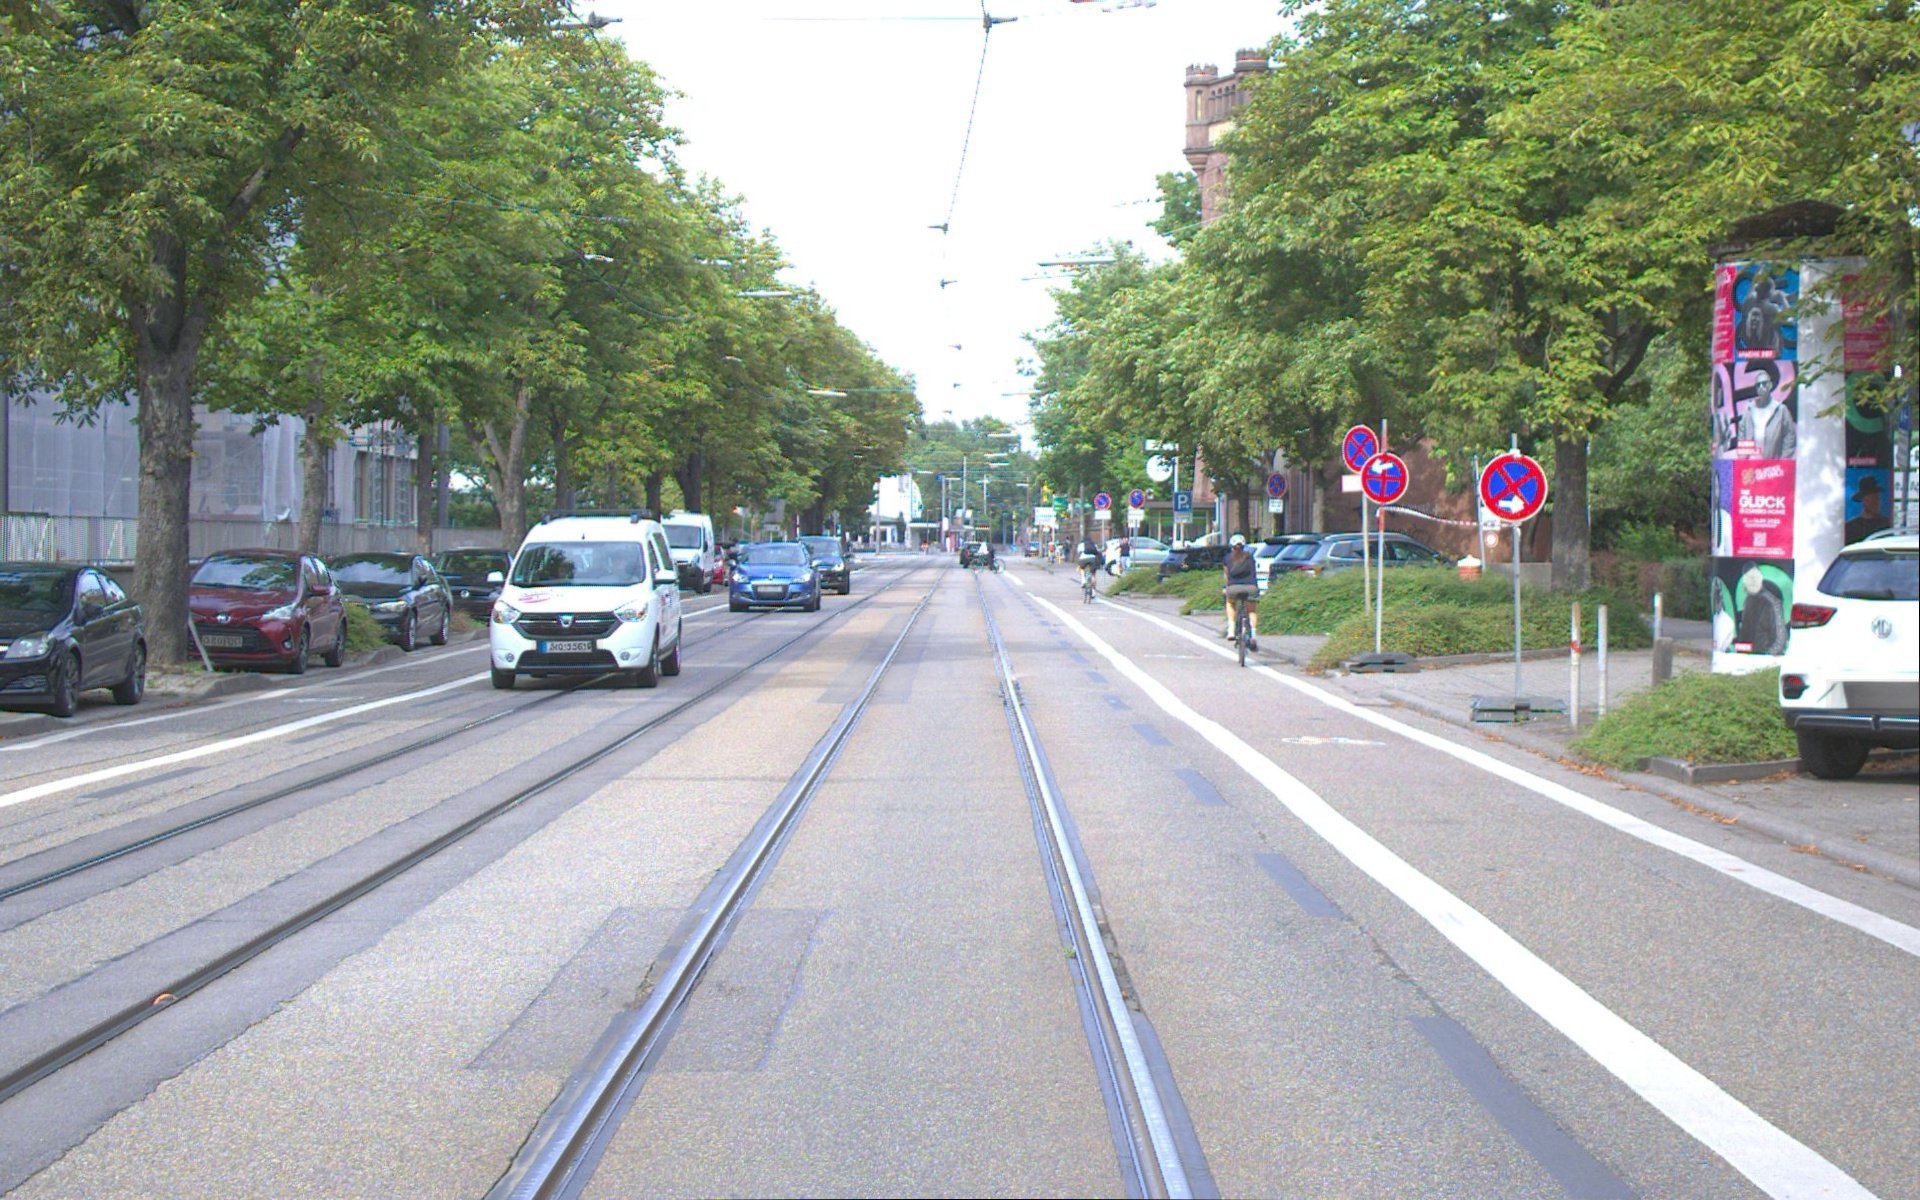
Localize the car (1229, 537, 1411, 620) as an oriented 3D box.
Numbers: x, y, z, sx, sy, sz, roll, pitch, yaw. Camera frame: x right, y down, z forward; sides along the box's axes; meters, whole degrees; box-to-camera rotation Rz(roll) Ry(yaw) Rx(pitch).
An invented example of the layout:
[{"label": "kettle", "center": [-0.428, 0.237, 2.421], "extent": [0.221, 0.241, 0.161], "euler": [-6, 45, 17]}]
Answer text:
[{"label": "car", "center": [7.174, -0.436, 68.391], "extent": [1.681, 1.597, 3.637], "euler": [1, 1, 45]}]

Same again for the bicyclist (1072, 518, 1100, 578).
[{"label": "bicyclist", "center": [3.187, -1.314, 86.800], "extent": [0.659, 1.491, 0.929], "euler": [1, 1, 1]}]

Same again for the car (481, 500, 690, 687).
[{"label": "car", "center": [-3.976, -0.114, 37.107], "extent": [1.732, 1.878, 4.378], "euler": [1, 1, 0]}]

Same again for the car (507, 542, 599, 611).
[{"label": "car", "center": [-8.576, -0.519, 72.724], "extent": [1.590, 1.398, 3.963], "euler": [1, 1, -2]}]

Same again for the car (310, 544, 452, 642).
[{"label": "car", "center": [-8.735, -0.128, 52.115], "extent": [1.590, 1.398, 3.963], "euler": [1, 1, -2]}]

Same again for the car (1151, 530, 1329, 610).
[{"label": "car", "center": [5.765, -0.610, 70.537], "extent": [1.681, 1.597, 3.637], "euler": [1, 1, 45]}]

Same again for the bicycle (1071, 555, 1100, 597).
[{"label": "bicycle", "center": [3.175, -0.611, 86.887], "extent": [0.663, 1.040, 1.841], "euler": [1, 1, 1]}]

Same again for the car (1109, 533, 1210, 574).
[{"label": "car", "center": [8.376, -1.971, 144.750], "extent": [3.986, 1.687, 2.000], "euler": [1, 1, -5]}]

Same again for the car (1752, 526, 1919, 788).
[{"label": "car", "center": [6.917, 0.341, 22.552], "extent": [1.681, 1.597, 3.637], "euler": [1, 1, 45]}]

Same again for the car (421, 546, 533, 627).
[{"label": "car", "center": [-8.731, -0.270, 62.427], "extent": [1.590, 1.398, 3.963], "euler": [1, 1, -2]}]

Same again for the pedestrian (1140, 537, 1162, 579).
[{"label": "pedestrian", "center": [8.036, -1.764, 144.708], "extent": [0.748, 1.783, 0.730], "euler": [1, 0, 15]}]

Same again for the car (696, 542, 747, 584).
[{"label": "car", "center": [-8.246, -1.301, 118.973], "extent": [1.590, 1.398, 3.963], "euler": [1, 1, -2]}]

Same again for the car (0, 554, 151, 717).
[{"label": "car", "center": [-8.801, 0.289, 32.258], "extent": [1.590, 1.398, 3.963], "euler": [1, 1, -2]}]

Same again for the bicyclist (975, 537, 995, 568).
[{"label": "bicyclist", "center": [1.213, -2.314, 168.119], "extent": [0.847, 1.499, 0.768], "euler": [1, 1, 8]}]

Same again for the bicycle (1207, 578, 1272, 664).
[{"label": "bicycle", "center": [3.557, 0.251, 43.837], "extent": [0.592, 1.040, 1.978], "euler": [1, 1, -2]}]

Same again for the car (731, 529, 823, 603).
[{"label": "car", "center": [-3.841, -0.739, 72.697], "extent": [1.732, 1.491, 4.378], "euler": [0, 1, 0]}]

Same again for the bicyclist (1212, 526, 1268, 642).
[{"label": "bicyclist", "center": [3.566, -0.212, 43.826], "extent": [0.592, 1.454, 0.875], "euler": [1, 1, -2]}]

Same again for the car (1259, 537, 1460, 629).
[{"label": "car", "center": [7.184, -0.316, 61.626], "extent": [1.681, 1.597, 3.637], "euler": [1, 1, 45]}]

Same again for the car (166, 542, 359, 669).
[{"label": "car", "center": [-8.647, 0.029, 42.915], "extent": [1.635, 1.491, 3.963], "euler": [1, 1, -1]}]

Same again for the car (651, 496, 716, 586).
[{"label": "car", "center": [-8.550, -1.836, 106.478], "extent": [1.720, 2.695, 5.471], "euler": [1, 1, -2]}]

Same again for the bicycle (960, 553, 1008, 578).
[{"label": "bicycle", "center": [1.168, -1.709, 168.138], "extent": [2.275, 1.185, 0.768], "euler": [1, 1, 8]}]

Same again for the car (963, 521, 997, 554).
[{"label": "car", "center": [1.100, -3.507, 192.712], "extent": [1.795, 1.817, 4.679], "euler": [1, 1, -1]}]
